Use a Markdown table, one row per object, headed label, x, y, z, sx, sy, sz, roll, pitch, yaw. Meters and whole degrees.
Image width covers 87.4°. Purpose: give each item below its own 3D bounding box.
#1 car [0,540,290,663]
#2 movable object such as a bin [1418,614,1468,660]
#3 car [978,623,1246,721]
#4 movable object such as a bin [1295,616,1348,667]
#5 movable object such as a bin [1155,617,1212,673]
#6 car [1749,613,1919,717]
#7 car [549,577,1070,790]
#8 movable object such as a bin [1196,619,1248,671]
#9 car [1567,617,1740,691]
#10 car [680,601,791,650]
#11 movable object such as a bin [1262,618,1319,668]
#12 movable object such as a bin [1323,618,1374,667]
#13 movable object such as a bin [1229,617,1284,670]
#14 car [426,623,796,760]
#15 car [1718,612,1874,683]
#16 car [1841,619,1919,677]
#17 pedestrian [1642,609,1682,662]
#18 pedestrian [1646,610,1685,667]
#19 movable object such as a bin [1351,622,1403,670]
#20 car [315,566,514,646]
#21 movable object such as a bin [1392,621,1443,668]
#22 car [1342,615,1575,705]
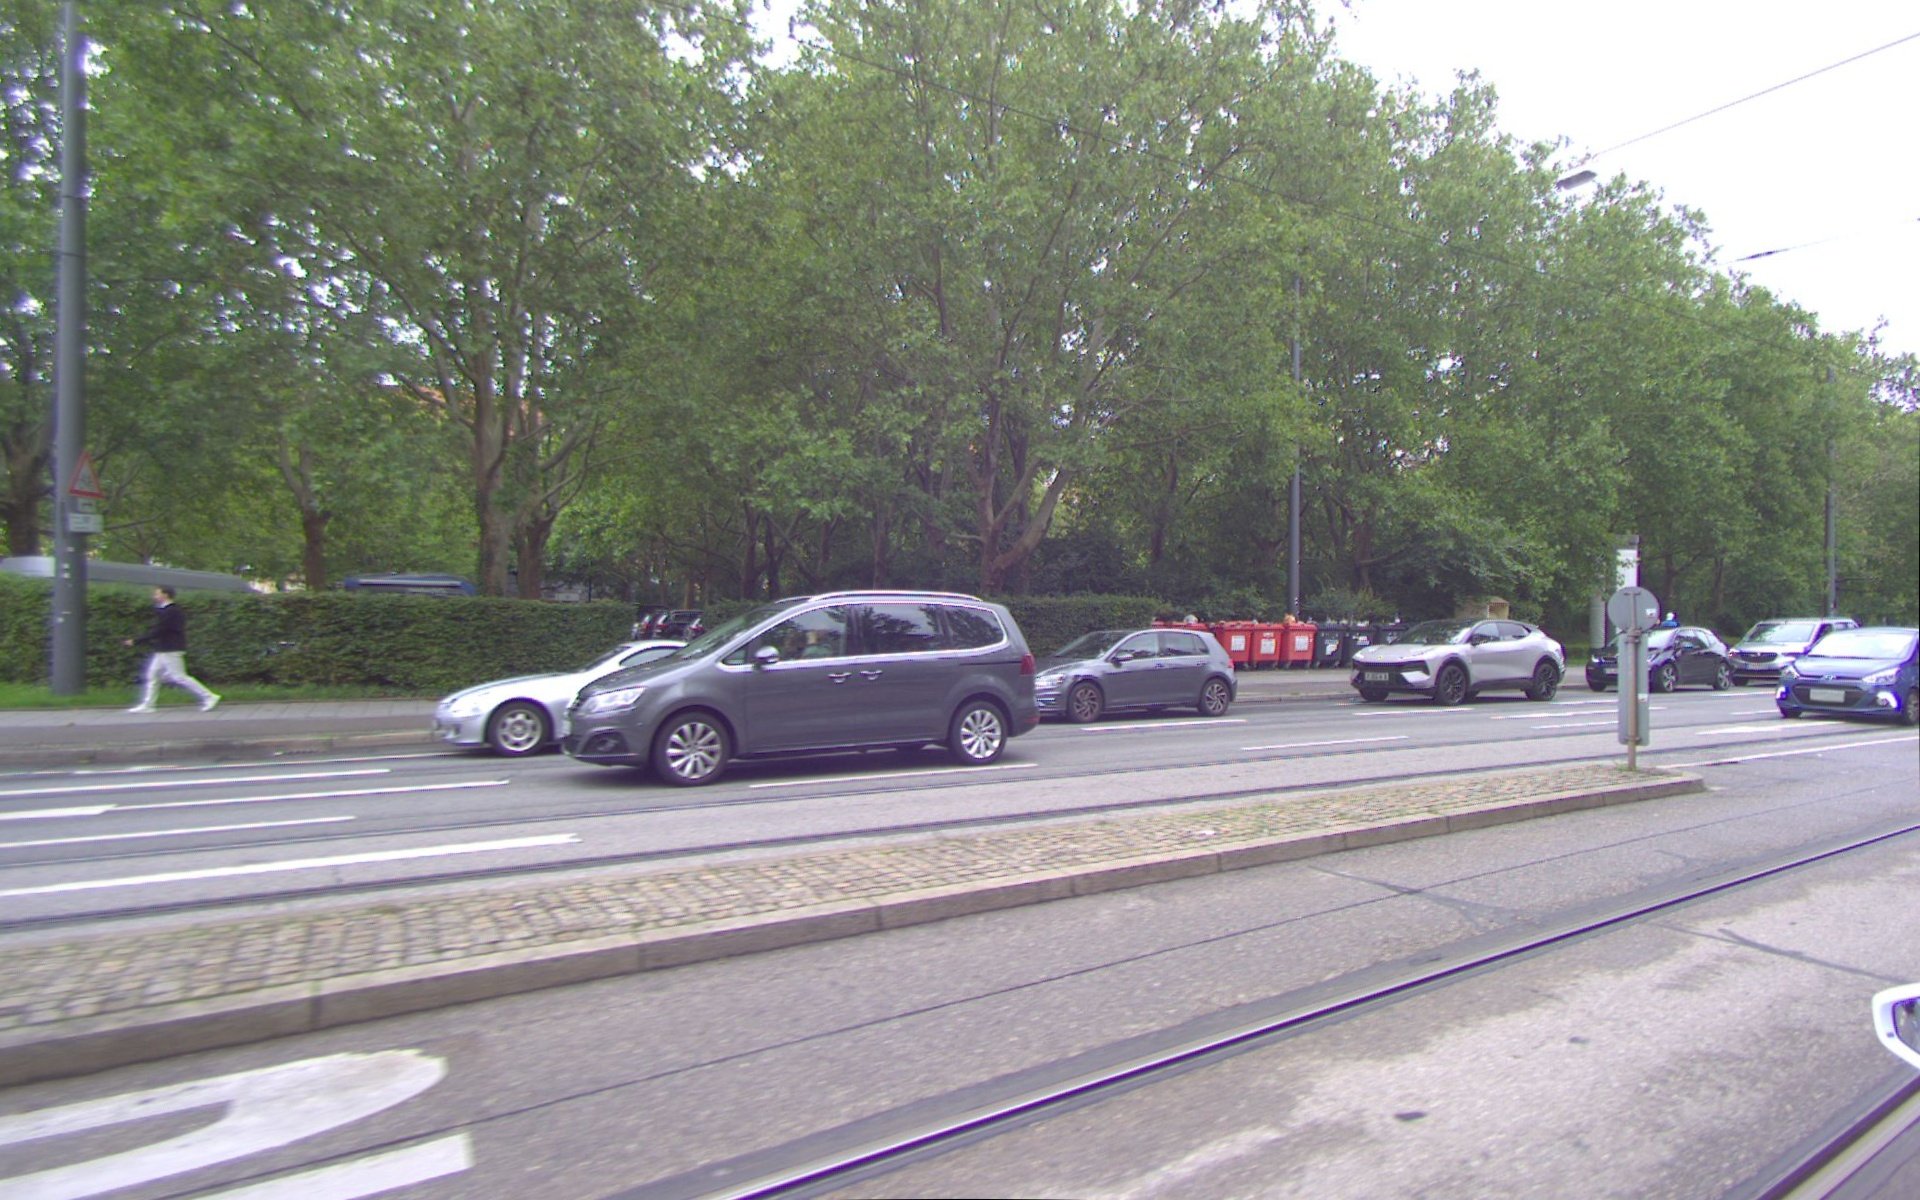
| label | x | y | z | sx | sy | sz | roll | pitch | yaw |
| --- | --- | --- | --- | --- | --- | --- | --- | --- | --- |
| car | -16.641 | 0.170 | 20.637 | 1.959 | 2.039 | 4.634 | 0 | -6 | 12 |
| movable object such as a bin | 15.321 | 1.164 | 31.861 | 1.146 | 1.371 | 0.928 | 1 | 2 | -33 |
| car | 2.487 | 1.090 | 16.276 | 4.048 | 1.399 | 1.814 | 1 | -1 | -29 |
| movable object such as a bin | 10.611 | 1.204 | 29.523 | 1.071 | 1.371 | 0.928 | 1 | 4 | -33 |
| movable object such as a bin | 5.945 | 1.182 | 26.718 | 1.071 | 1.371 | 0.928 | 1 | 5 | -33 |
| car | 15.220 | 1.034 | 16.685 | 4.301 | 1.542 | 1.792 | 2 | -2 | -29 |
| car | -1.410 | 0.717 | 10.028 | 4.831 | 1.705 | 1.814 | 1 | -1 | -29 |
| movable object such as a bin | 7.141 | 1.211 | 27.362 | 1.003 | 1.371 | 0.929 | 1 | 0 | -33 |
| car | 17.198 | 1.289 | 24.881 | 4.300 | 1.689 | 1.792 | 1 | -1 | -29 |
| car | -8.847 | 0.965 | 39.601 | 3.943 | 1.762 | 1.859 | -1 | 1 | -26 |
| movable object such as a bin | 9.508 | 1.228 | 28.886 | 1.264 | 1.371 | 0.929 | 1 | 1 | -33 |
| movable object such as a bin | 11.625 | 1.257 | 30.032 | 1.071 | 1.371 | 0.928 | 1 | 2 | -33 |
| movable object such as a bin | 8.310 | 1.208 | 28.139 | 1.117 | 1.371 | 0.928 | 1 | 3 | -33 |
| car | -4.217 | 1.041 | 12.266 | 4.052 | 1.429 | 1.724 | 1 | -4 | -29 |
| car | 22.884 | 1.264 | 27.468 | 4.417 | 1.803 | 1.792 | 1 | -1 | -29 |
| car | 28.837 | 1.420 | 30.435 | 4.531 | 1.656 | 1.792 | 1 | -1 | -29 |
| pedestrian | 23.395 | 1.168 | 33.500 | 0.973 | 1.707 | 0.663 | -1 | 1 | -20 |
| pedestrian | 23.162 | 1.256 | 32.992 | 0.806 | 1.813 | 0.663 | 1 | 0 | -20 |
| movable object such as a bin | 12.695 | 1.397 | 30.563 | 1.146 | 1.371 | 0.928 | 1 | 2 | -33 |
| car | -18.477 | 0.133 | 34.364 | 5.786 | 2.569 | 1.987 | -1 | 1 | -26 |
| movable object such as a bin | 14.220 | 1.358 | 31.207 | 1.146 | 1.371 | 0.928 | 1 | 2 | -33 |
| car | 10.251 | 1.164 | 20.569 | 4.937 | 1.664 | 1.792 | 1 | -1 | -29 |
